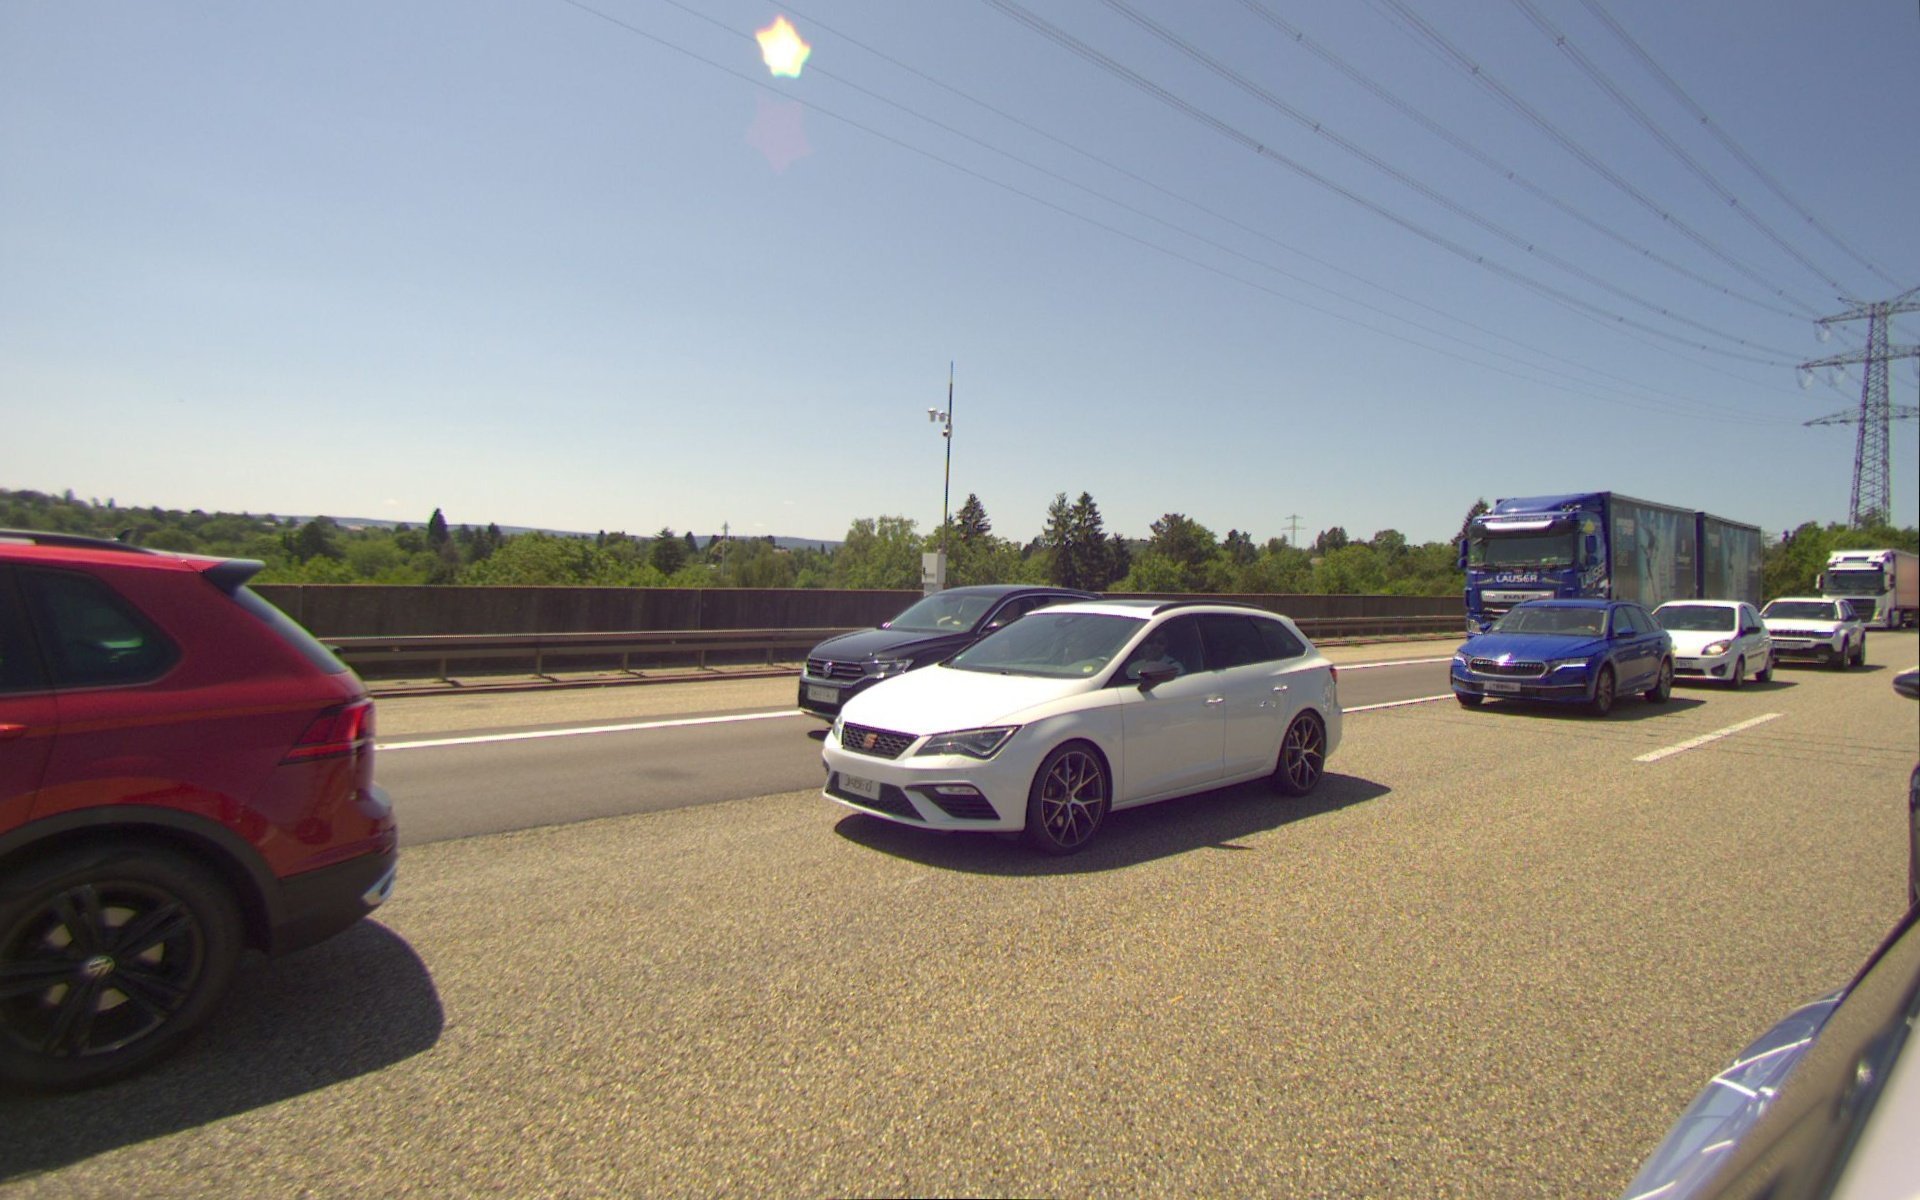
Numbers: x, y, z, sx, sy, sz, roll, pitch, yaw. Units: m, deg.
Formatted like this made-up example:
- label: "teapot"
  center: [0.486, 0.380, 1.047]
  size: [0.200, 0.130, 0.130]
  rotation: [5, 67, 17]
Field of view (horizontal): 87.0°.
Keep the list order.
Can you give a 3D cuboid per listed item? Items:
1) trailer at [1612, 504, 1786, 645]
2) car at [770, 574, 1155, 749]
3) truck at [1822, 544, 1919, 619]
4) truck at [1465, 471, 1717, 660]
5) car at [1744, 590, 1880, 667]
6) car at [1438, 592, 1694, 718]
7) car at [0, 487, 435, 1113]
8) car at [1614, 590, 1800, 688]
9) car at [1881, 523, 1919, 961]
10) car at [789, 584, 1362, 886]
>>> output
- label: "trailer"
  center: [23.771, -0.768, 32.349]
  size: [8.329, 3.994, 2.571]
  rotation: [0, 1, -40]
- label: "car"
  center: [0.151, 0.533, 10.956]
  size: [4.034, 1.546, 1.739]
  rotation: [0, 0, -41]
- label: "truck"
  center: [47.930, -0.922, 52.757]
  size: [10.776, 3.604, 2.983]
  rotation: [0, 0, -41]
- label: "truck"
  center: [16.681, -0.801, 26.282]
  size: [10.262, 4.117, 2.528]
  rotation: [0, 1, -40]
- label: "car"
  center: [18.958, 0.565, 22.459]
  size: [4.024, 1.522, 1.761]
  rotation: [0, 1, -42]
- label: "car"
  center: [8.379, 0.637, 13.852]
  size: [4.135, 1.463, 1.739]
  rotation: [0, 1, -40]
- label: "car"
  center: [-3.915, 0.525, 2.725]
  size: [4.151, 1.683, 1.778]
  rotation: [0, 1, -41]
- label: "car"
  center: [13.320, 0.612, 17.975]
  size: [4.021, 1.522, 1.762]
  rotation: [0, 1, -40]
- label: "car"
  center: [5.649, 0.534, 4.604]
  size: [3.931, 1.683, 1.738]
  rotation: [0, 0, -41]
- label: "car"
  center: [0.998, 0.663, 7.104]
  size: [4.003, 1.508, 1.841]
  rotation: [0, 0, -42]
